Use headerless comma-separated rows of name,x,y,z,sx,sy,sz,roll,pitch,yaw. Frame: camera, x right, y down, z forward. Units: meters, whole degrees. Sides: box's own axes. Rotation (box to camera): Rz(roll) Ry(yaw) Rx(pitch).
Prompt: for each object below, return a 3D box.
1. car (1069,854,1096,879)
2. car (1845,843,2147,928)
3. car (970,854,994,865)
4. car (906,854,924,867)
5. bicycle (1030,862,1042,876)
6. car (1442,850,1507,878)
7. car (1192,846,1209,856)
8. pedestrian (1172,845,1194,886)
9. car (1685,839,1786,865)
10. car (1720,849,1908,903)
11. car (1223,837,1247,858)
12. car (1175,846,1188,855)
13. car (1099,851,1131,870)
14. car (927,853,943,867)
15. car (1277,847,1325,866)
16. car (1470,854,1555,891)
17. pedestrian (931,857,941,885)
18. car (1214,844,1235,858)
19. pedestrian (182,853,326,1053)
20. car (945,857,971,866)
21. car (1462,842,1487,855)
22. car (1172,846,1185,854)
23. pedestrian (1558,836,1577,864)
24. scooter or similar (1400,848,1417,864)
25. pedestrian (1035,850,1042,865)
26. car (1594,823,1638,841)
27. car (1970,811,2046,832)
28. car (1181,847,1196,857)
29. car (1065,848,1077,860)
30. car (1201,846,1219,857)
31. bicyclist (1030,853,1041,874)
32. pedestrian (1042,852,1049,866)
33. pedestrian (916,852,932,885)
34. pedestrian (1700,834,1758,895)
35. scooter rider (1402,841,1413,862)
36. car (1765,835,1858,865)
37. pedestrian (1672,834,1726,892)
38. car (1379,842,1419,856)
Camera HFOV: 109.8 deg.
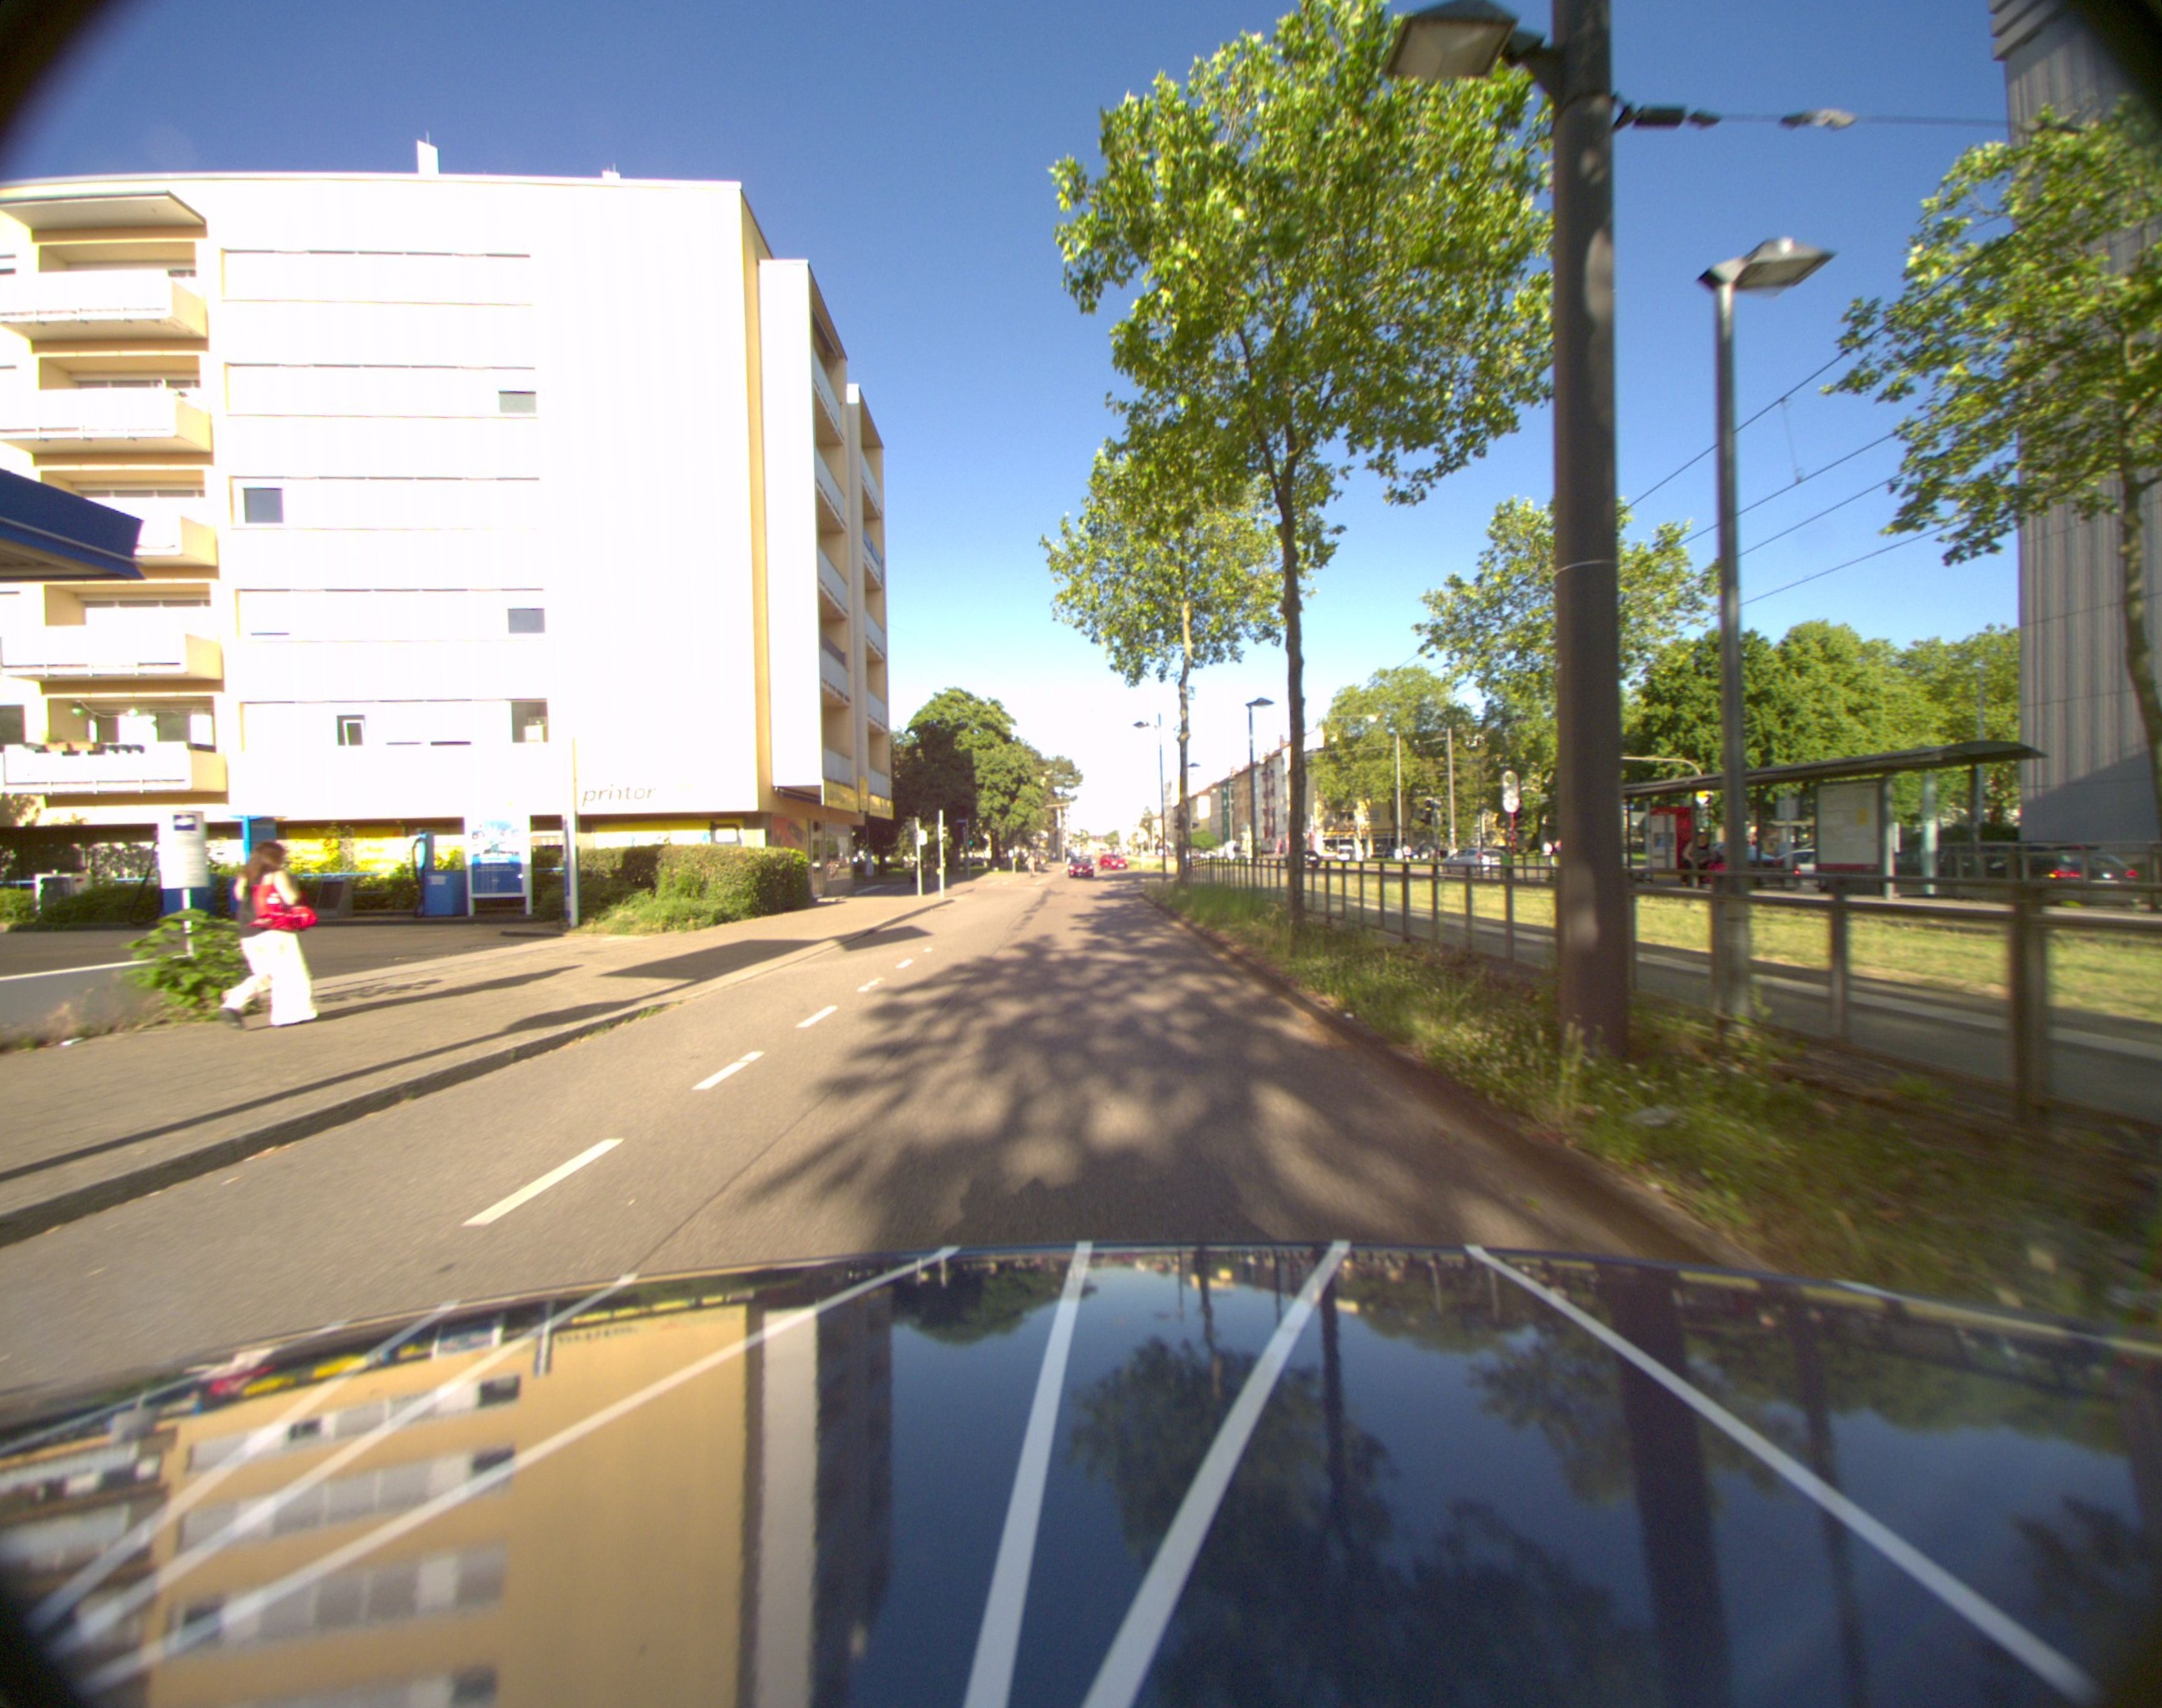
car,0.123,0.787,49.884,1.619,1.537,4.277,-2,1,1
car,17.522,0.532,14.839,1.609,1.419,3.536,-1,0,-2
car,-12.881,0.651,99.099,1.997,1.316,4.280,-1,1,10
car,-22.591,0.885,103.139,2.001,1.689,4.271,-2,0,-16
bicycle,-3.233,1.045,54.339,0.684,0.925,1.736,-1,0,1
car,20.175,0.468,39.077,1.329,1.317,3.415,-1,1,-6
car,21.190,-0.588,134.455,2.144,1.697,5.445,-2,1,0
pedestrian,3.848,0.428,28.709,0.660,1.520,0.538,-2,1,-7
car,40.512,-0.124,47.120,4.525,1.478,2.000,-1,1,0
car,20.633,0.555,21.650,1.555,1.346,4.000,-1,1,1
car,21.318,-0.889,105.585,2.231,2.808,5.228,-2,1,0
car,21.486,-0.749,163.067,2.144,1.697,5.402,-2,1,0
car,3.086,0.571,68.970,1.545,1.522,3.596,-4,1,-20
car,-19.547,0.770,101.525,2.001,1.689,4.272,-2,1,-13
car,17.908,0.212,62.153,1.956,1.433,4.525,-1,0,-10
car,15.209,0.617,26.927,1.328,1.197,2.965,-2,1,1
pedestrian,-8.148,0.955,42.765,0.505,1.537,0.518,0,2,-17
car,21.364,-0.496,112.993,2.144,2.022,5.157,-2,1,0
pedestrian,-7.294,0.842,6.726,0.605,1.692,0.552,-2,1,4
car,-16.137,0.977,99.735,1.997,1.060,4.280,-1,1,10
car,40.123,-0.581,77.584,1.641,1.300,4.004,-1,1,18
car,21.738,-0.824,169.931,2.144,1.697,5.402,-2,1,0
pedestrian,29.218,-0.243,45.619,0.596,1.672,0.747,-1,1,-5
scooter or similar,26.708,0.150,61.923,0.598,1.302,1.540,-1,1,-5
pedestrian,-4.645,0.362,83.167,0.567,1.688,0.595,-2,1,-18
car,50.850,-2.088,72.298,1.997,1.543,3.937,-1,1,12
car,76.492,-2.638,62.783,1.997,1.543,3.937,-1,1,12
car,21.212,-0.421,150.091,2.144,1.697,5.445,-2,1,0
car,-1.626,0.003,125.540,1.998,1.806,3.999,-2,1,0
car,21.007,-0.490,124.010,2.144,1.697,5.157,-2,1,0
bicyclist,-3.249,0.679,54.360,0.678,1.466,0.936,-2,1,1
pedestrian,-3.851,0.578,82.158,0.596,1.518,0.633,-2,1,-10
pedestrian,-8.798,0.793,42.572,0.790,1.817,1.032,0,2,-17
pedestrian,14.627,0.223,17.163,0.696,1.334,0.734,-1,1,2
scooter rider,26.684,-0.183,62.014,0.596,1.686,0.573,-1,1,-5
car,44.972,-0.231,46.818,3.997,1.705,1.787,-1,1,0
pedestrian,14.643,0.215,18.015,0.733,1.334,0.774,-1,1,14
car,34.564,-0.504,82.666,3.990,1.429,1.720,-1,2,23
